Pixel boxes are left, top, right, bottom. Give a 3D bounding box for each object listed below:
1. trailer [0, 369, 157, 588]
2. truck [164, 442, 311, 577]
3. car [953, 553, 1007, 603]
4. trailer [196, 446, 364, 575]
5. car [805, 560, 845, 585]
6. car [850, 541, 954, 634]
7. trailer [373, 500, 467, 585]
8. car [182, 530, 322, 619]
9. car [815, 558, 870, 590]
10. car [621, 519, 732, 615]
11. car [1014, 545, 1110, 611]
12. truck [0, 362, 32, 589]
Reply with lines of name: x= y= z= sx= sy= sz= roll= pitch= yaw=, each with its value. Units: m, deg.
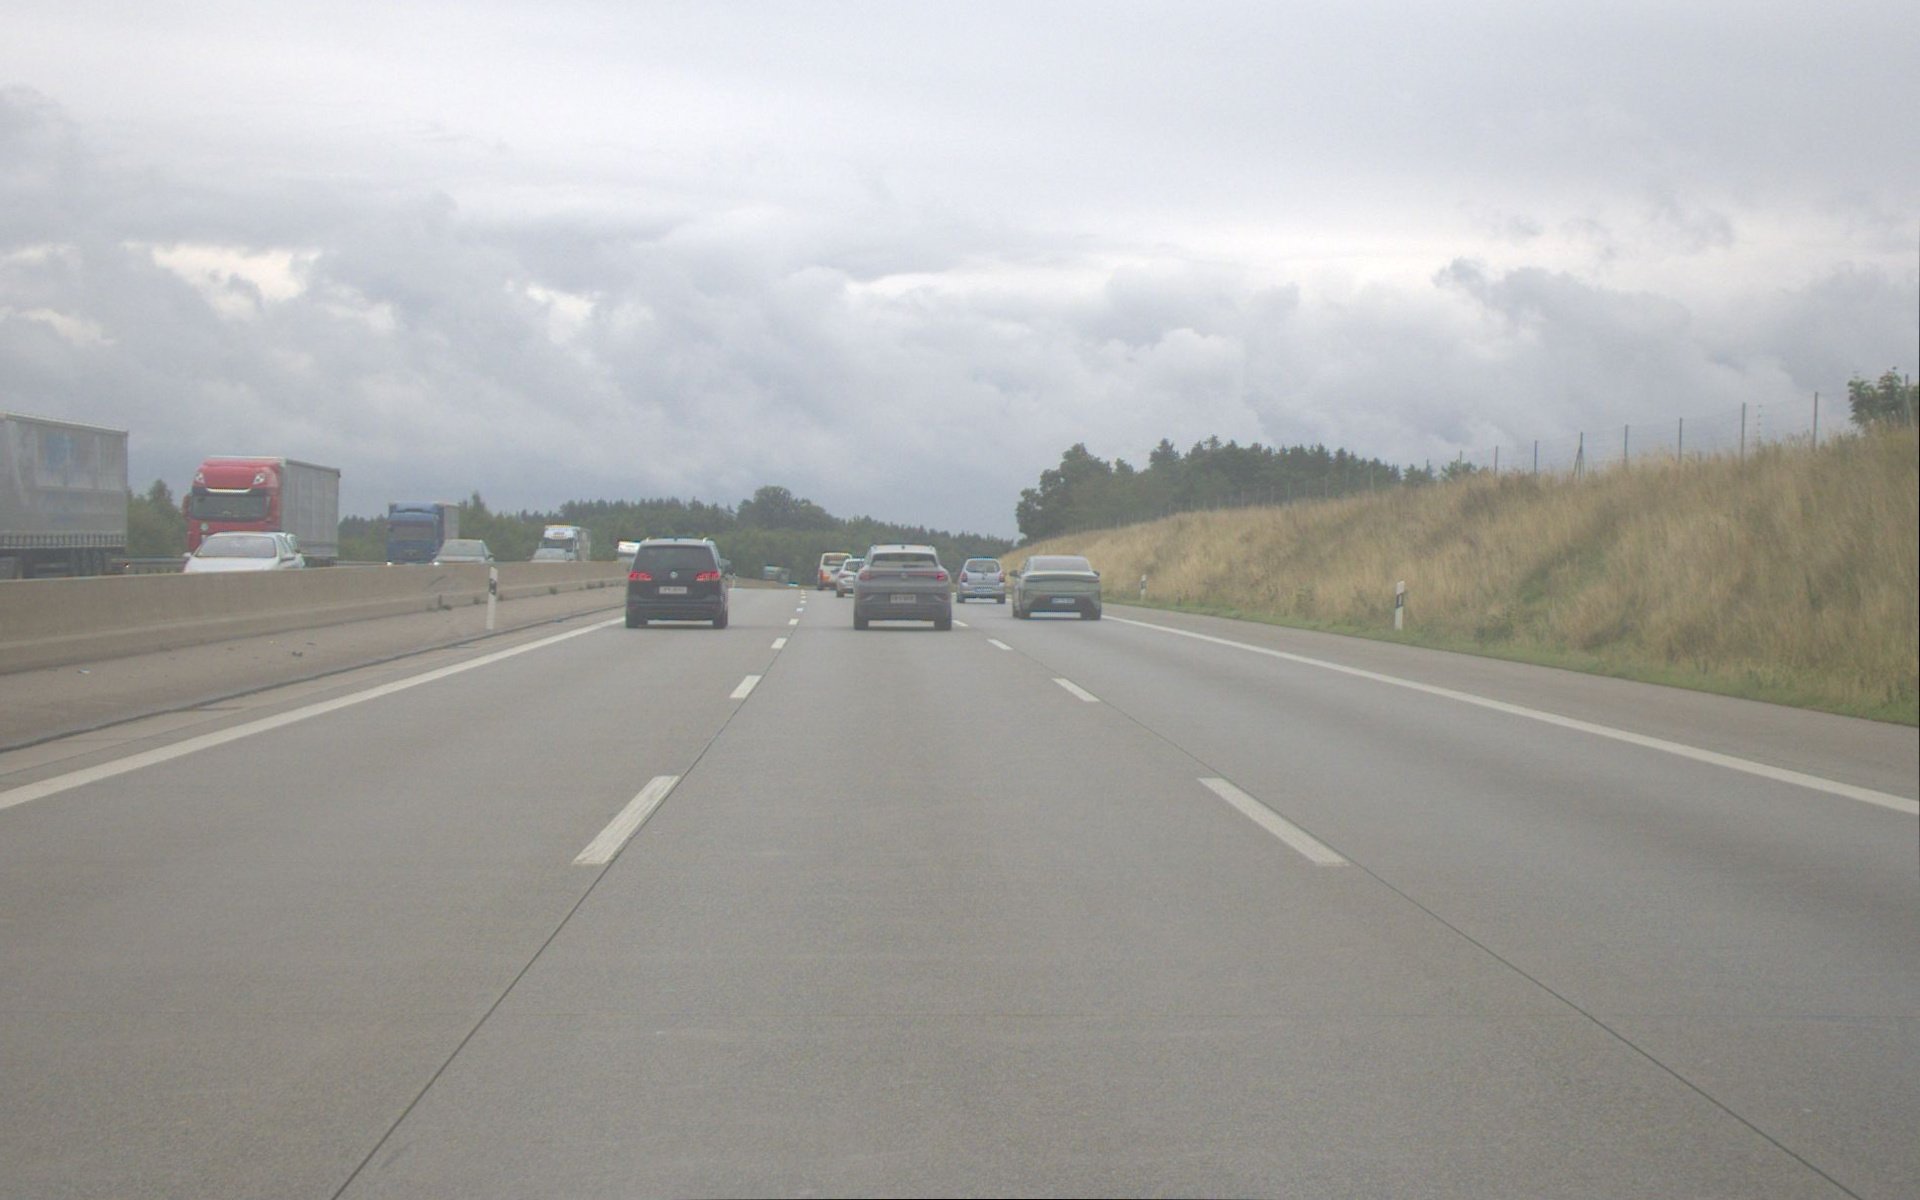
trailer: x=-21.459 y=-2.710 z=79.403 sx=2.916 sy=4.609 sz=13.638 roll=1 pitch=1 yaw=-1
truck: x=-23.218 y=-2.882 z=110.865 sx=3.470 sy=4.168 sz=6.494 roll=1 pitch=1 yaw=-1
car: x=0.644 y=-0.725 z=110.920 sx=1.485 sy=1.465 sz=3.505 roll=3 pitch=1 yaw=-3
trailer: x=-23.401 y=-3.061 z=119.096 sx=3.483 sy=4.187 sz=12.929 roll=1 pitch=1 yaw=-1
car: x=-6.962 y=-1.430 z=177.514 sx=1.798 sy=1.217 sz=4.000 roll=1 pitch=1 yaw=1
car: x=-1.113 y=-0.275 z=66.356 sx=1.898 sy=1.684 sz=5.266 roll=1 pitch=1 yaw=-1
trailer: x=-25.454 y=-2.738 z=162.597 sx=2.849 sy=3.824 sz=12.400 roll=1 pitch=1 yaw=-2
car: x=-13.346 y=-0.510 z=65.019 sx=1.698 sy=1.609 sz=4.720 roll=1 pitch=1 yaw=-1
car: x=-4.339 y=-0.957 z=126.980 sx=1.798 sy=1.119 sz=4.000 roll=1 pitch=1 yaw=1
car: x=-5.365 y=-0.647 z=65.366 sx=1.785 sy=1.741 sz=3.915 roll=1 pitch=1 yaw=0
car: x=2.316 y=-0.530 z=79.205 sx=2.014 sy=1.441 sz=4.745 roll=1 pitch=1 yaw=0
truck: x=-21.210 y=-2.584 z=70.736 sx=2.927 sy=4.660 sz=5.233 roll=1 pitch=1 yaw=-2
